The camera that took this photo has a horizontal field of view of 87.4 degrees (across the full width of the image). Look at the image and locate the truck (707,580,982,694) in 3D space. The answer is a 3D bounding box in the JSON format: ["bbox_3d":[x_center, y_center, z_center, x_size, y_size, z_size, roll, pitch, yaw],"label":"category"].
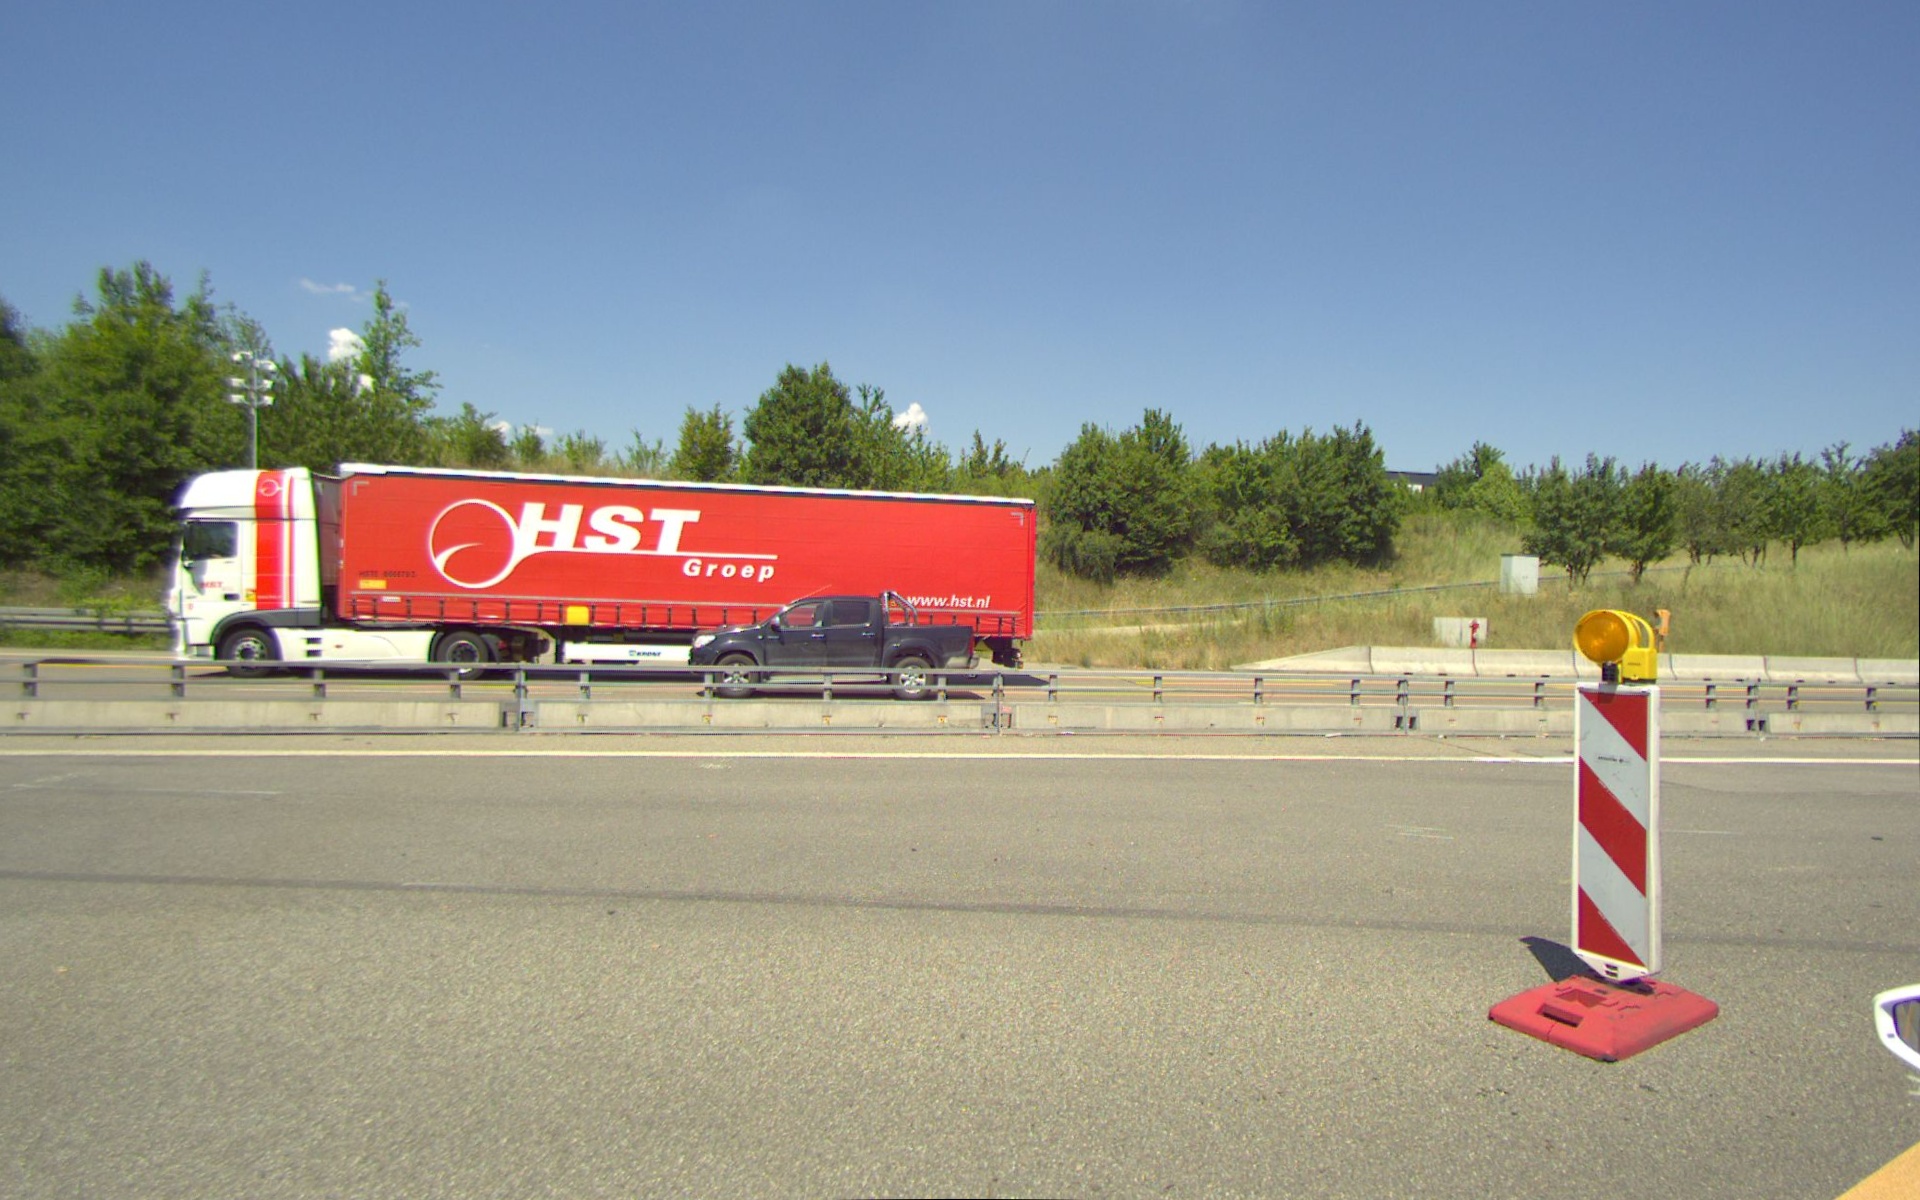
[{"bbox_3d":[-2.106,0.646,18.281,4.676,1.898,1.996,1,1,-10],"label":"truck"}]

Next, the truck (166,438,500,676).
[{"bbox_3d":[-12.064,-0.764,19.735,4.928,4.163,2.337,2,1,-11],"label":"truck"}]

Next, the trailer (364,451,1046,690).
[{"bbox_3d":[-4.875,-0.471,21.091,13.025,4.157,2.341,2,1,-11],"label":"trailer"}]
